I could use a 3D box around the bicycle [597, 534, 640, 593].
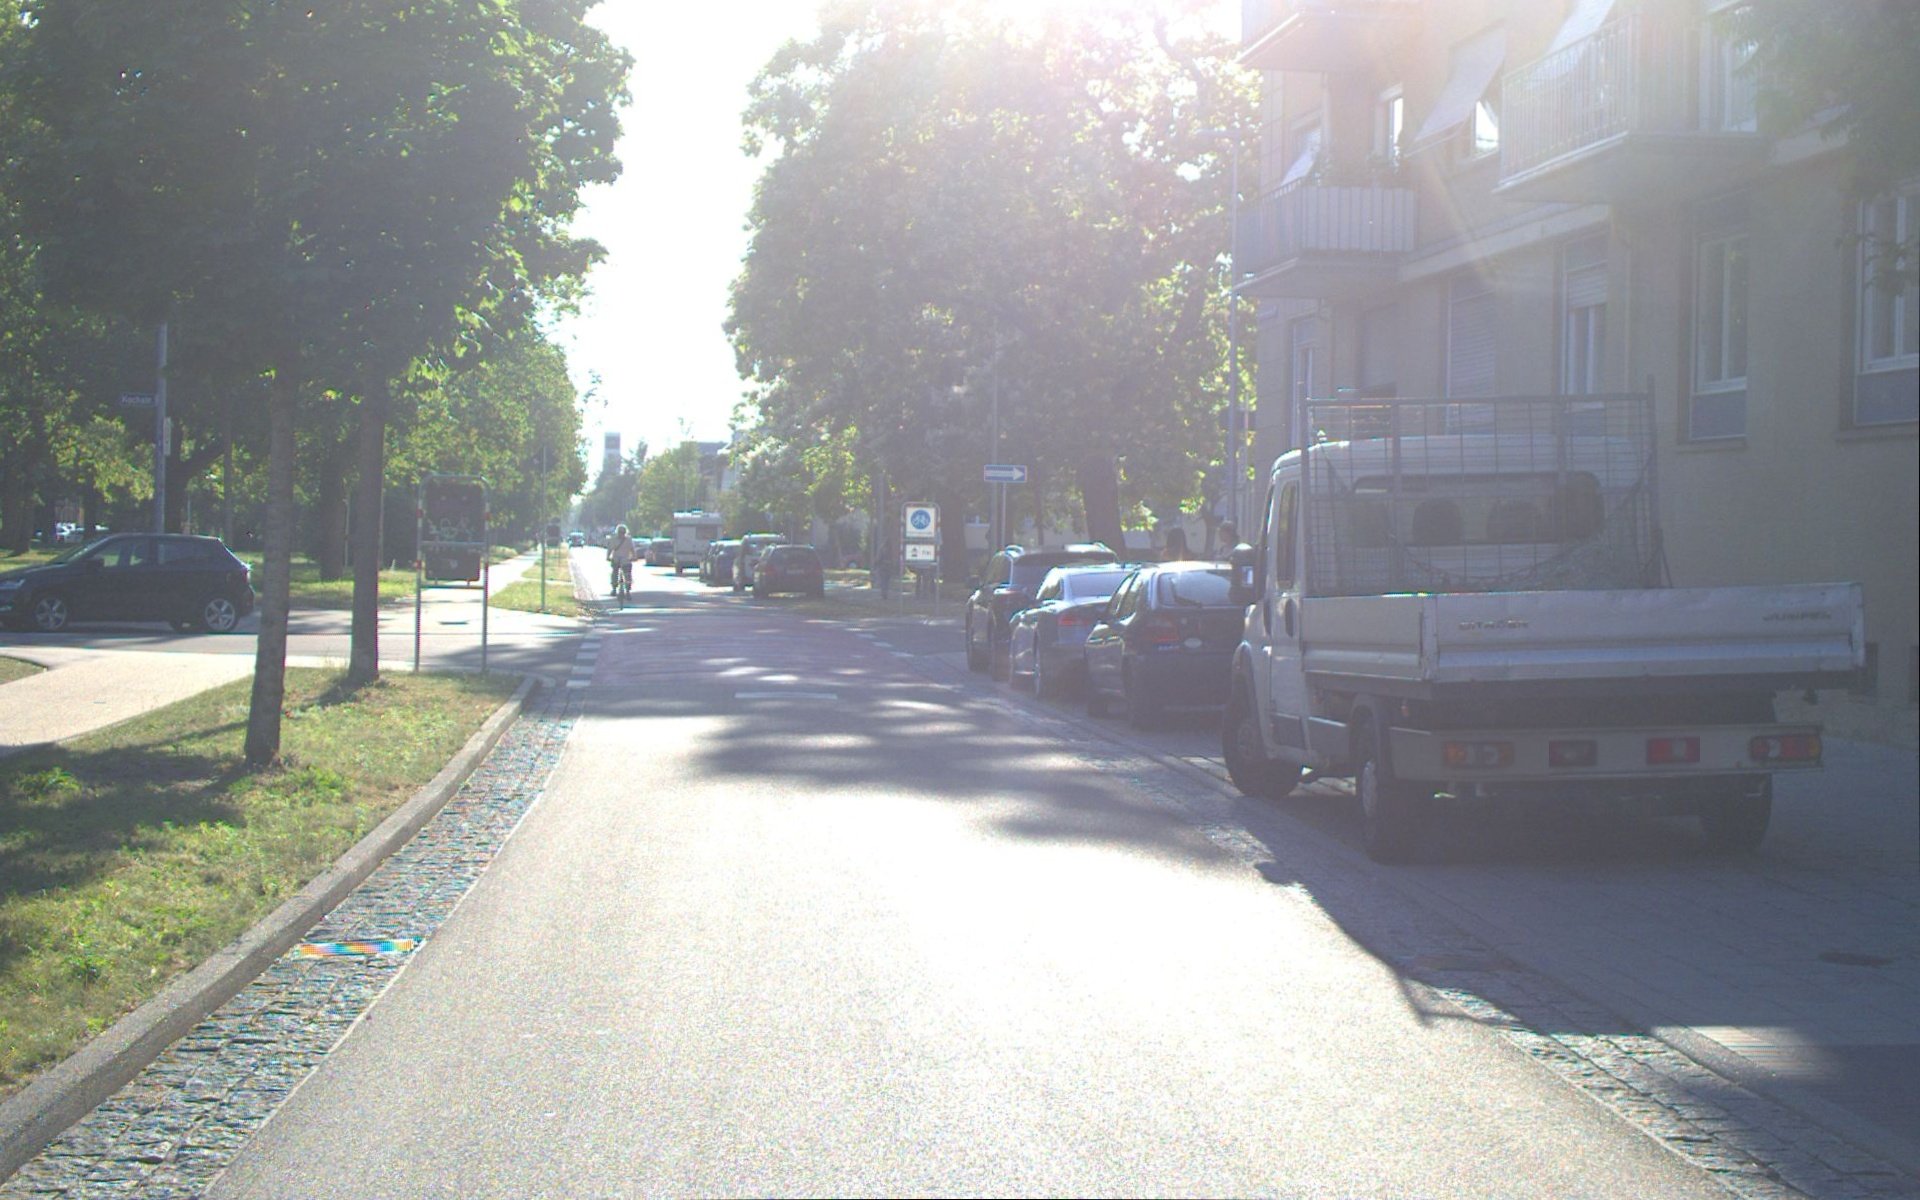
[{"bbox_3d":[-7.259,-0.787,73.135,0.688,1.198,2.343,1,1,-1],"label":"bicycle"}]

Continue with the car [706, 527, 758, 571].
[{"bbox_3d":[-8.132,-1.844,122.826,1.793,1.504,4.001,1,1,-4],"label":"car"}]

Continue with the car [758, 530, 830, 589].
[{"bbox_3d":[-4.506,-1.123,93.751,1.793,1.504,4.000,1,1,-1],"label":"car"}]

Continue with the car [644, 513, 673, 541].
[{"bbox_3d":[-22.216,-5.400,253.164,1.993,1.963,4.001,2,1,-4],"label":"car"}]

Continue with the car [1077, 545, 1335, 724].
[{"bbox_3d":[2.087,0.259,30.074,1.690,1.435,3.551,0,1,-5],"label":"car"}]

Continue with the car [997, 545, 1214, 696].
[{"bbox_3d":[1.443,0.169,35.566,1.690,1.435,4.105,0,1,-5],"label":"car"}]

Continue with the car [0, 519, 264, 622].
[{"bbox_3d":[-12.316,-0.430,49.814,3.987,1.415,1.772,1,1,-31],"label":"car"}]

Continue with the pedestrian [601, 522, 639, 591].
[{"bbox_3d":[-7.231,-0.932,73.185,0.688,1.429,1.024,1,1,-1],"label":"pedestrian"}]

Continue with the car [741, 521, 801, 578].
[{"bbox_3d":[-5.934,-1.601,107.837,1.793,1.718,4.001,1,1,-4],"label":"car"}]

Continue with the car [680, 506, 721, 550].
[{"bbox_3d":[-12.071,-3.352,159.954,1.793,1.992,4.001,1,1,-4],"label":"car"}]

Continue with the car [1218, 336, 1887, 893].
[{"bbox_3d":[2.966,-0.011,18.877,2.211,2.521,6.149,-1,1,-4],"label":"car"}]

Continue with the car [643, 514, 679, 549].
[{"bbox_3d":[-17.486,-4.023,201.386,1.993,1.963,4.001,2,1,-4],"label":"car"}]

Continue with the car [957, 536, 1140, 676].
[{"bbox_3d":[1.003,0.034,40.984,1.690,1.560,4.105,0,1,-5],"label":"car"}]
